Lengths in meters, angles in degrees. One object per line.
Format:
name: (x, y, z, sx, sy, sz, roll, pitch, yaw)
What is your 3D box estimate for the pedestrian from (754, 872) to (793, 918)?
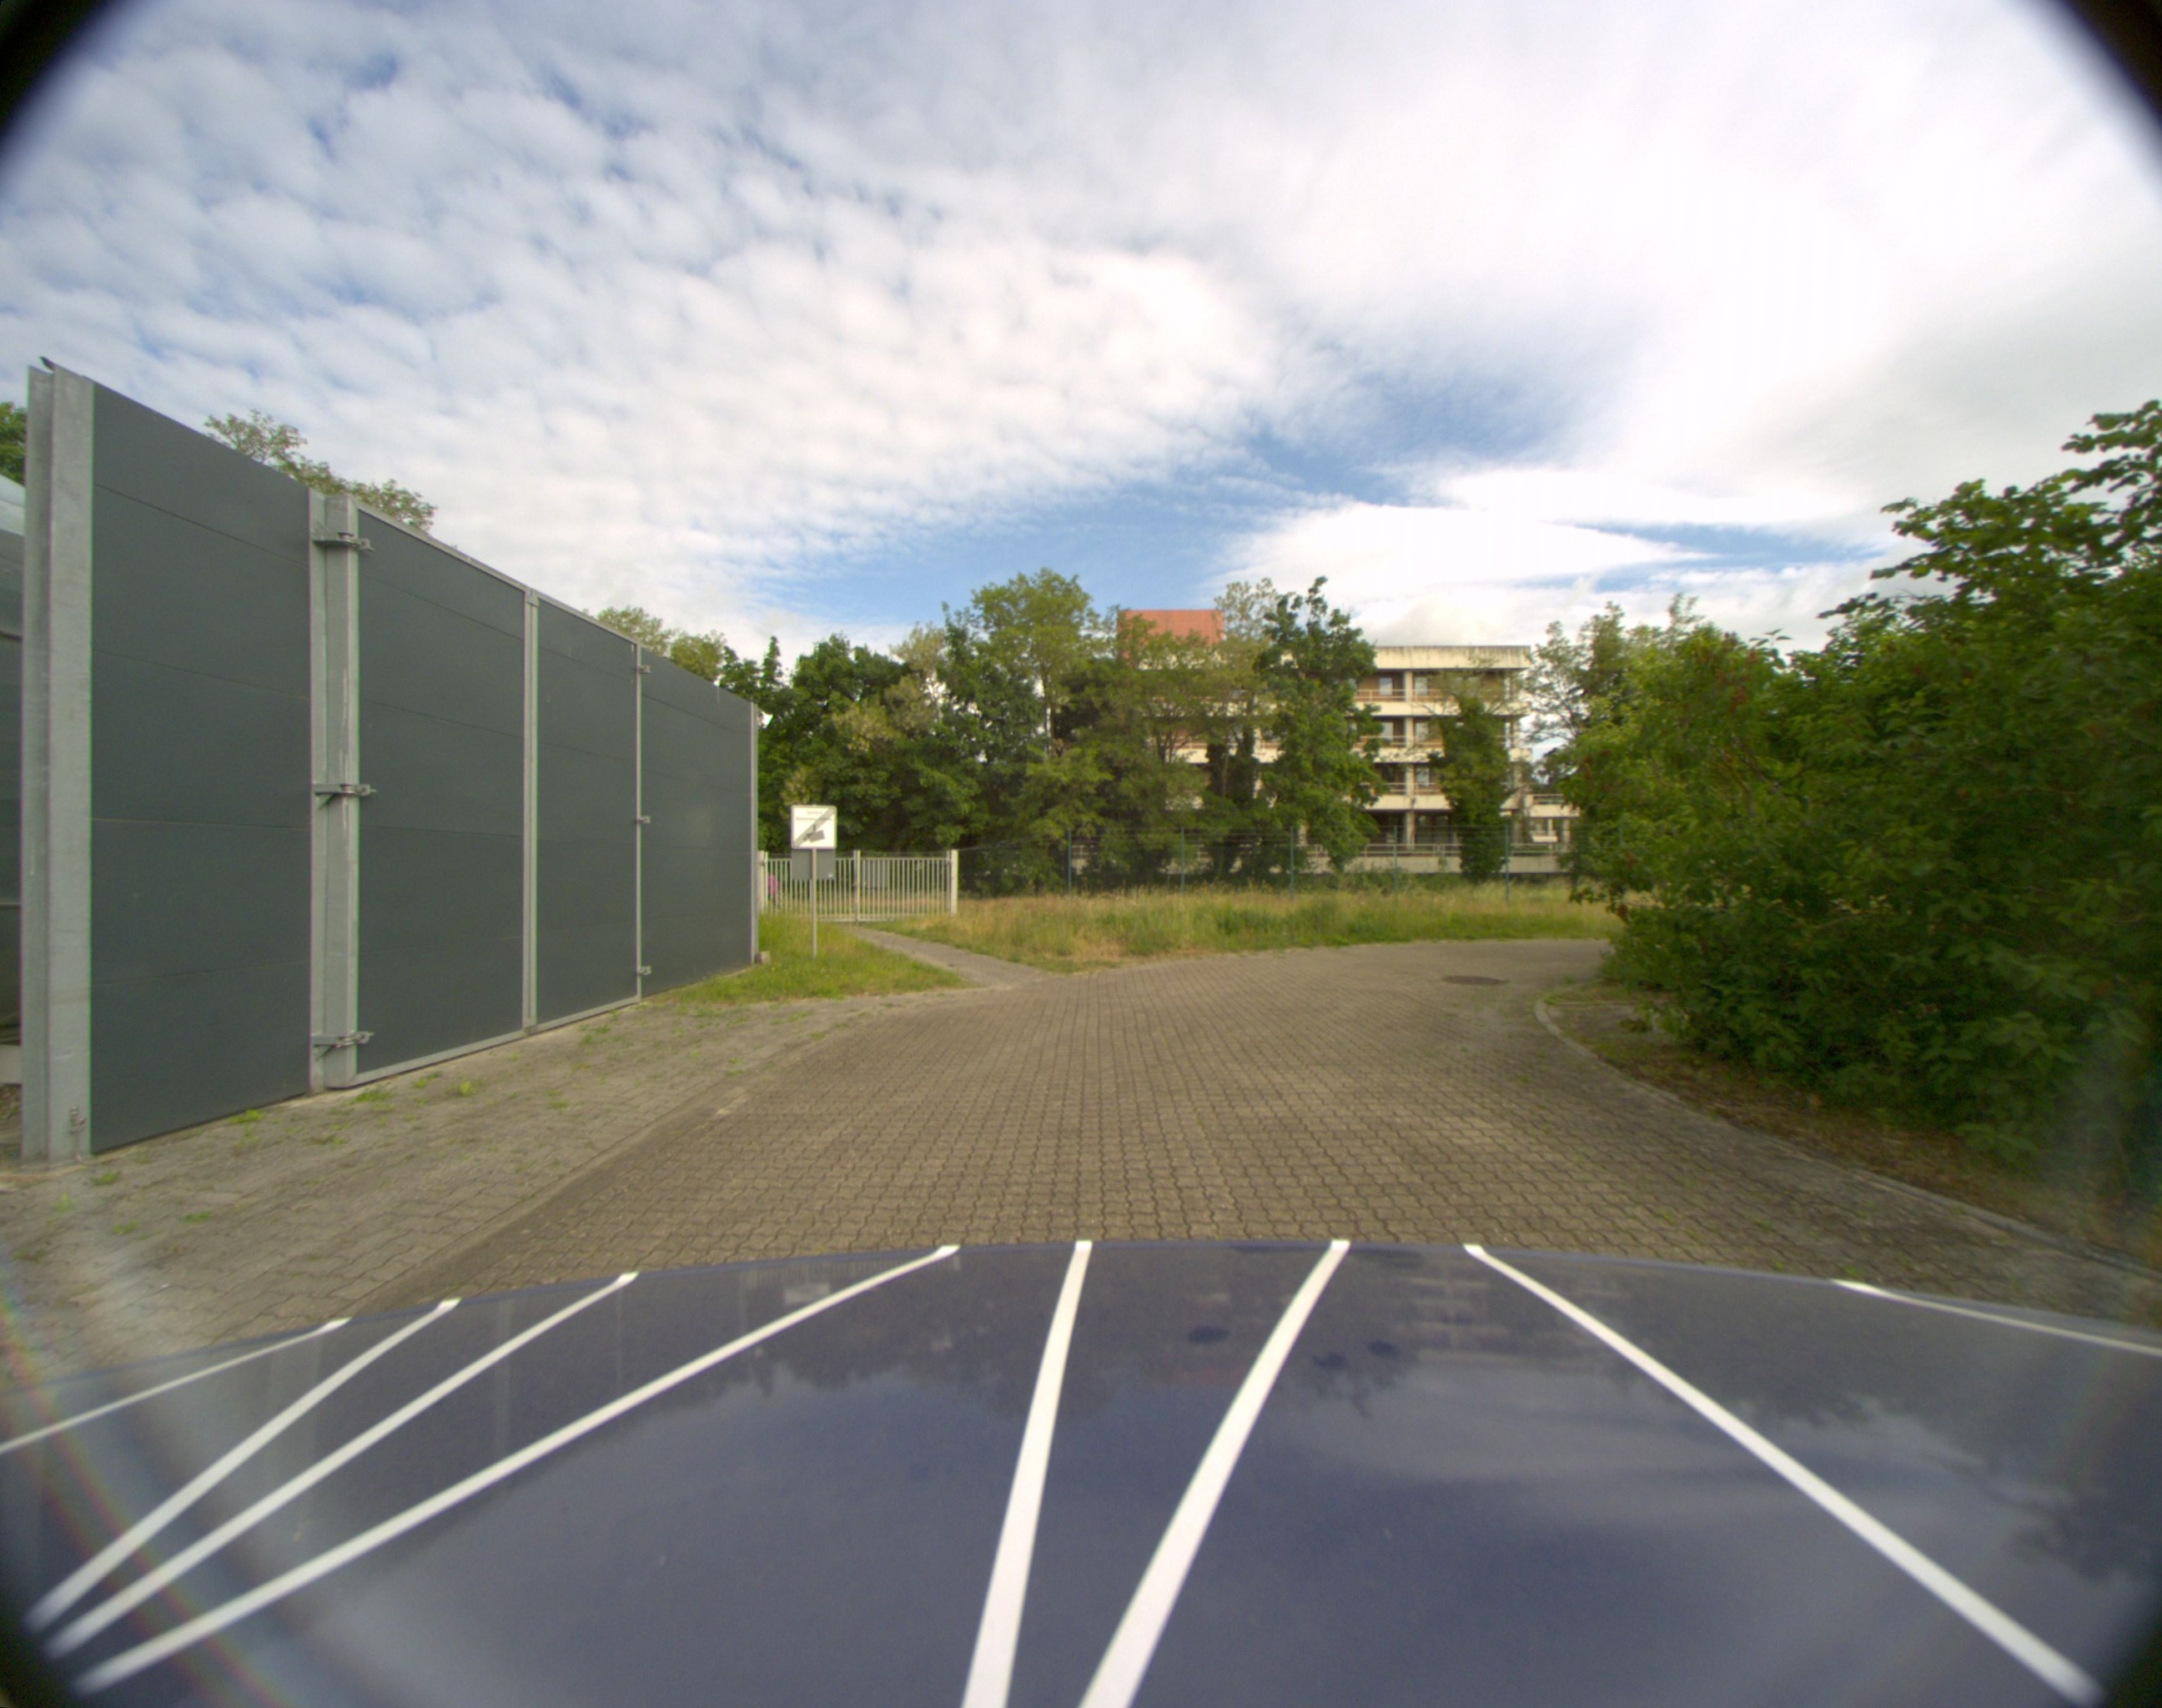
pedestrian: (-10.618, 1.404, 26.256, 1.034, 1.565, 0.737, 0, 0, 3)
